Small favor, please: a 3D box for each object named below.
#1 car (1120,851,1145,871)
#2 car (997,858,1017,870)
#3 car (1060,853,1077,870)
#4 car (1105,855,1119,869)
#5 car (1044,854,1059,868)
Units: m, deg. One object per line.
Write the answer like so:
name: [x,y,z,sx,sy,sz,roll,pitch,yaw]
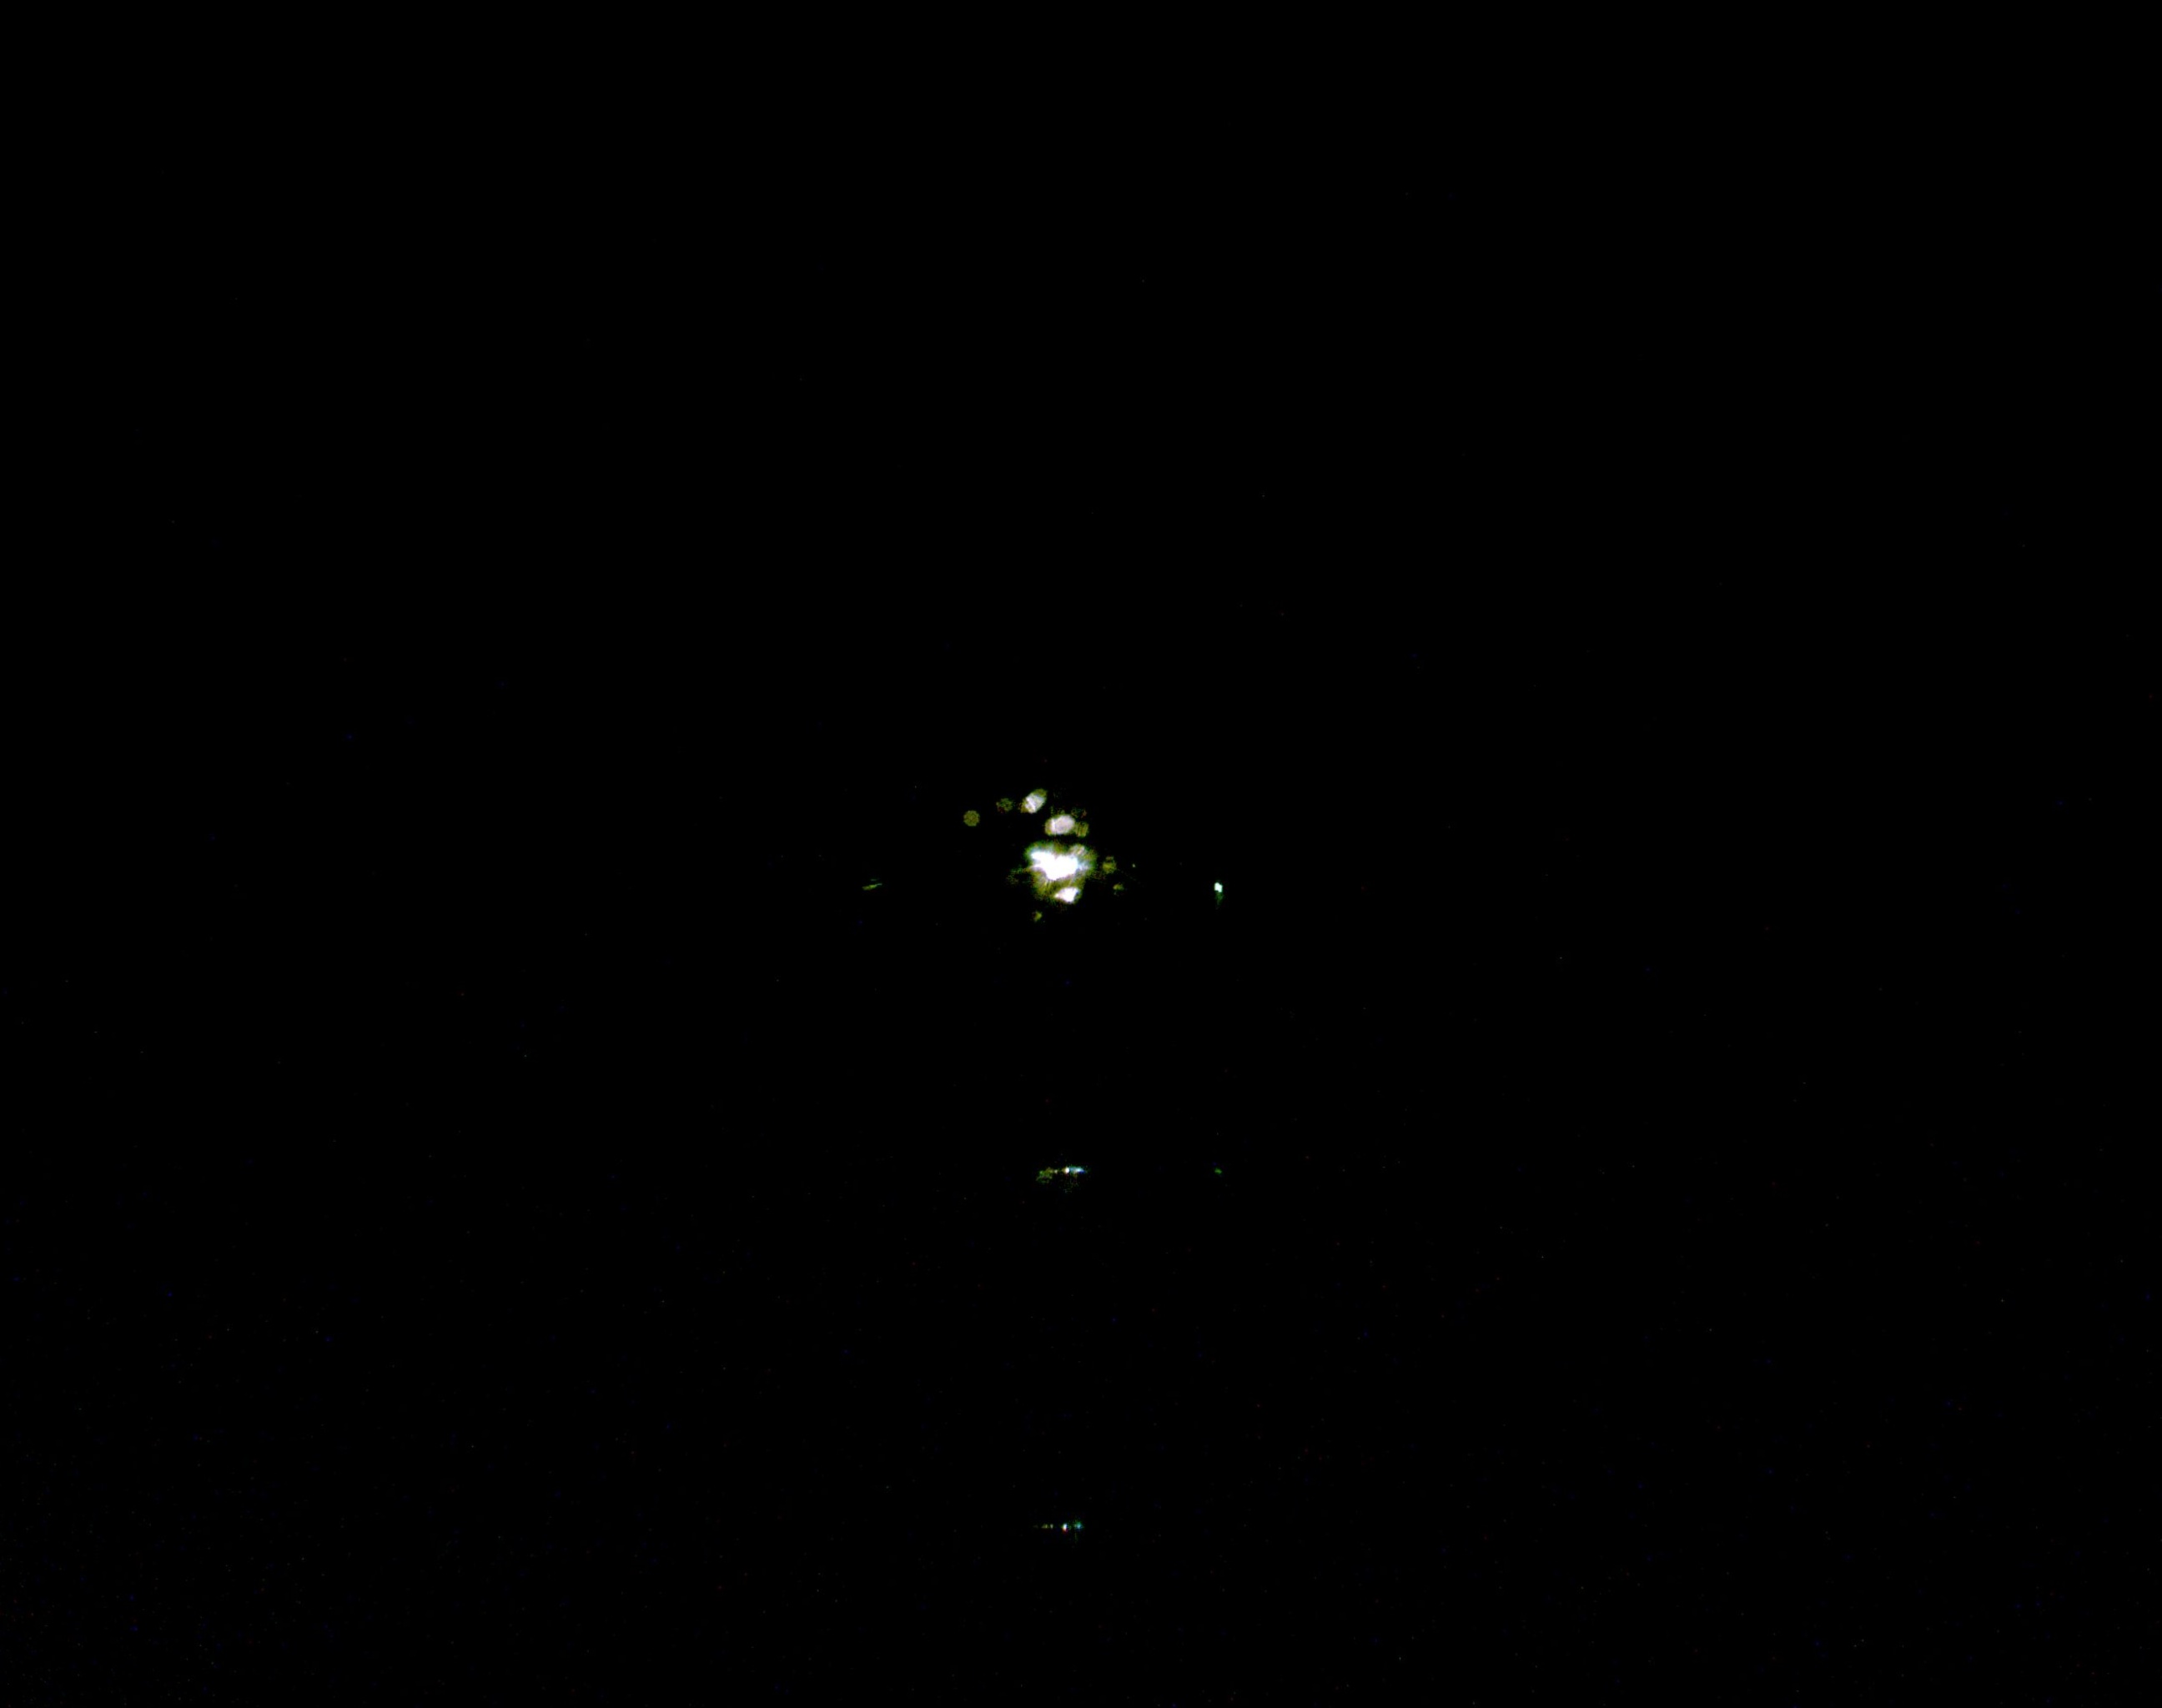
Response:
car: [4.357,0.585,69.492,1.985,1.618,4.003,-1,0,2]
car: [-9.159,1.265,100.918,1.986,1.448,4.432,0,0,2]
car: [-1.588,0.930,103.196,1.986,2.013,4.001,0,0,2]
car: [4.567,1.149,119.825,1.986,2.013,4.001,0,0,2]
car: [-4.277,0.954,119.604,1.986,2.013,4.001,0,0,2]
